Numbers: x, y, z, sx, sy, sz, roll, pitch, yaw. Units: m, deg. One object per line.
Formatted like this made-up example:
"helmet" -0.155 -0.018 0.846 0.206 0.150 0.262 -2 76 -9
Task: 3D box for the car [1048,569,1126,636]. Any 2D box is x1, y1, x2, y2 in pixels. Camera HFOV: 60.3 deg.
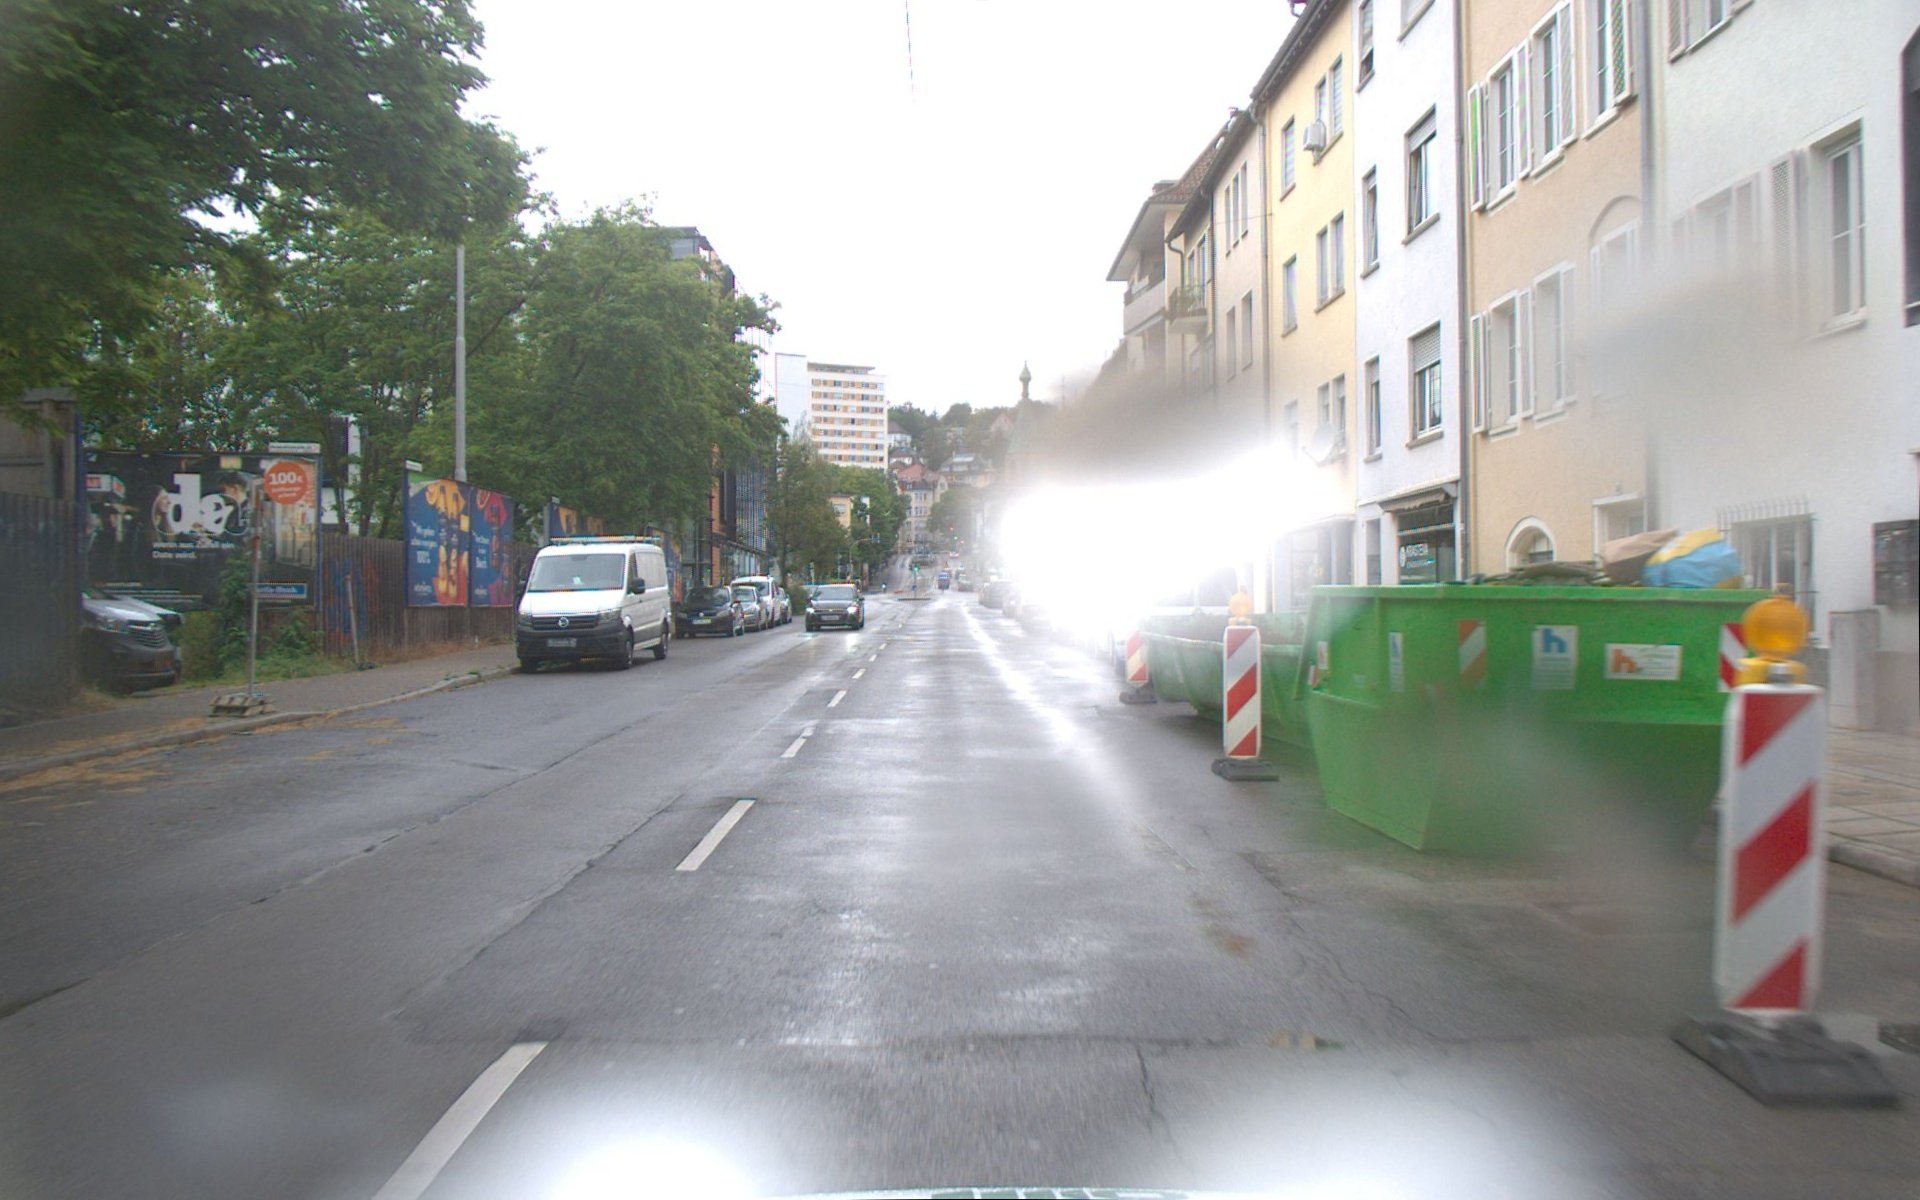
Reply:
"car" 3.189 0.045 42.209 1.629 1.601 4.097 -1 0 -1

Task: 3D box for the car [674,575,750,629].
"car" -7.035 0.067 47.171 1.648 1.423 3.909 -2 0 -2

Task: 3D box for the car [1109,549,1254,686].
"car" 3.387 0.242 26.012 1.780 1.958 4.239 0 0 1

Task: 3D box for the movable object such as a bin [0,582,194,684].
"movable object such as a bin" -13.445 0.489 25.522 2.648 1.449 1.669 -2 0 -15

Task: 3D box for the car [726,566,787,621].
"car" -7.218 -0.202 59.012 1.689 1.831 4.342 -2 0 -1

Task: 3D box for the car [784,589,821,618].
"car" -8.384 0.203 88.300 1.767 1.476 4.655 -1 -1 -3

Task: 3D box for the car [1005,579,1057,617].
"car" 2.812 -0.064 66.208 1.630 1.446 3.918 -1 -1 -4

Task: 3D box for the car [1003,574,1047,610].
"car" 2.812 -0.342 72.592 1.630 1.528 3.919 -1 0 -2

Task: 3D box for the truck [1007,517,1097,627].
"truck" 2.814 -0.816 52.341 2.419 3.228 7.035 -1 0 0

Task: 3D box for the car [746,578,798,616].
"car" -7.266 -0.097 64.140 1.689 1.400 4.341 -2 0 -3

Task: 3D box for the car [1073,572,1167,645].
"car" 3.500 0.163 36.828 1.629 1.526 4.097 -1 0 -1

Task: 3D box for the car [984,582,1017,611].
"car" 2.367 -0.208 97.943 1.781 1.681 4.075 1 0 -1

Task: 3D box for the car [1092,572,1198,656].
"car" 3.457 0.247 31.349 1.545 1.496 3.501 0 0 -1

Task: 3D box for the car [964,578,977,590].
"car" 1.470 -2.220 232.813 1.696 1.682 4.001 -1 1 2

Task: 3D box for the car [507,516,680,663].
"car" -6.944 -0.203 32.056 1.971 2.530 5.983 -2 0 0

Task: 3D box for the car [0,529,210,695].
"car" -13.126 0.193 21.839 5.390 2.044 2.145 -2 0 -3

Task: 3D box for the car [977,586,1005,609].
"car" 2.127 -0.172 115.329 1.781 1.549 4.075 1 0 -1

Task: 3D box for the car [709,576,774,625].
"car" -7.095 0.037 54.010 1.648 1.488 4.275 -2 0 -2

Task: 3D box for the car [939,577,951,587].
"car" -2.285 -2.782 257.776 1.869 1.537 3.999 0 0 -1

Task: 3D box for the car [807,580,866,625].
"car" -4.083 0.086 55.188 1.769 1.440 4.382 -1 0 -2

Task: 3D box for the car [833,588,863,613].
"car" -7.001 0.058 103.992 1.675 1.476 4.292 -1 -1 -2
